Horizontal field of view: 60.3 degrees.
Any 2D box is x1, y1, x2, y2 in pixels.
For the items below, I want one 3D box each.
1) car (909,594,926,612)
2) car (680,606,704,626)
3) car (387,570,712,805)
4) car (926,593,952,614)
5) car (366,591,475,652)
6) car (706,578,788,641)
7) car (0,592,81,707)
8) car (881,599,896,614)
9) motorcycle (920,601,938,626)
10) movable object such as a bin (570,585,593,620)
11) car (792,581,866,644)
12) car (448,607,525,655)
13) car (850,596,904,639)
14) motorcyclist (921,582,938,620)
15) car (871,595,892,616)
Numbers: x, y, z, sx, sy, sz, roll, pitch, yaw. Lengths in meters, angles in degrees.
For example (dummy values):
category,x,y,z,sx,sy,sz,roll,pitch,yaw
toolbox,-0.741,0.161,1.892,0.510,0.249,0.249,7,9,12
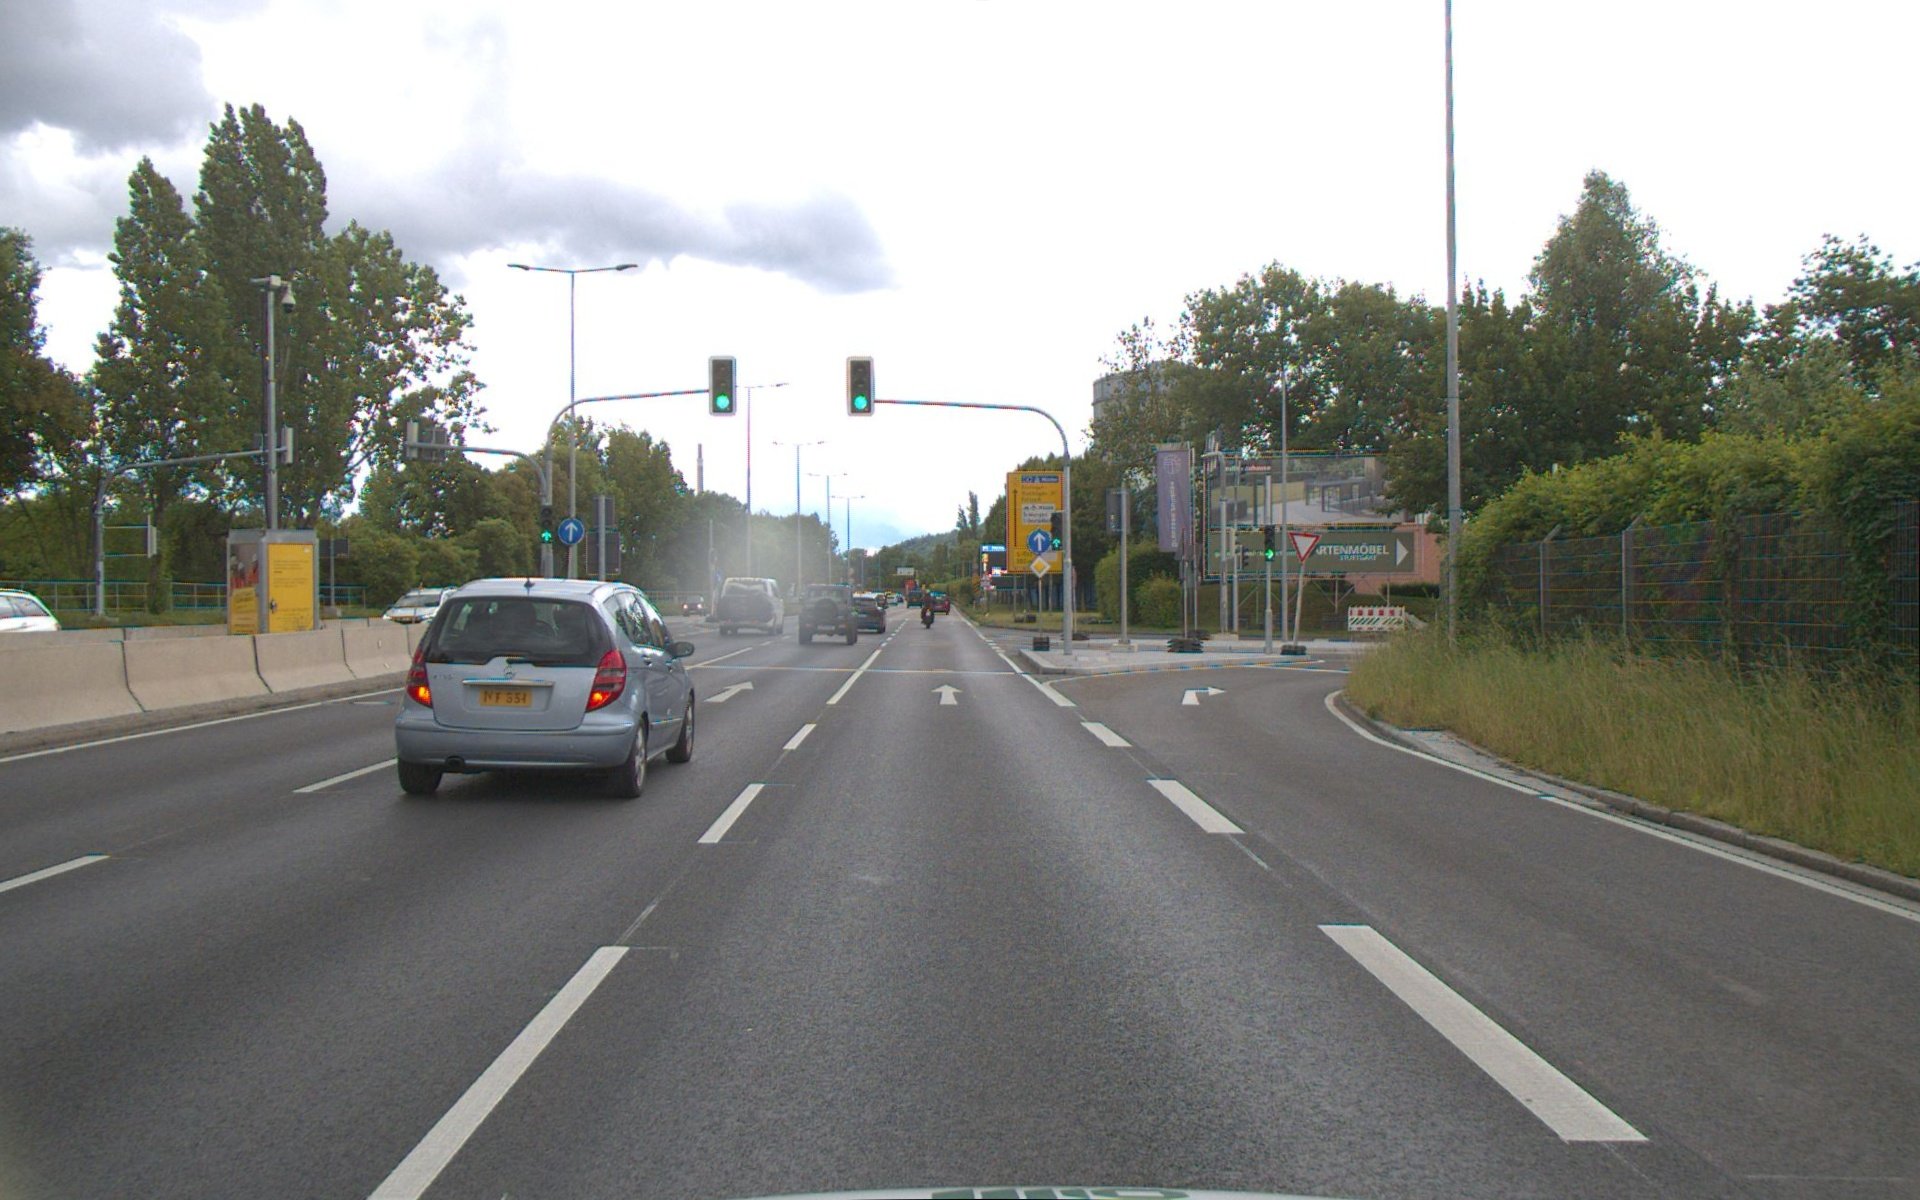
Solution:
category,x,y,z,sx,sy,sz,roll,pitch,yaw
car,-5.010,0.334,194.526,1.953,2.049,3.999,2,0,-1
car,-20.726,1.244,128.080,1.443,1.488,2.736,2,0,-1
car,-3.114,0.585,13.348,1.676,1.556,3.999,2,0,-2
car,-1.663,0.255,129.349,1.953,1.579,3.998,2,0,-2
car,-16.574,0.627,51.055,1.953,1.714,4.411,2,0,-1
car,-7.122,0.297,55.813,2.170,1.959,5.001,2,0,-1
car,-15.515,0.744,25.042,1.953,1.697,4.694,2,0,-1
car,-10.518,0.912,244.225,1.953,2.049,4.000,2,0,-1
motorcycle,-1.375,0.589,73.279,0.692,1.058,2.027,2,0,1
movable object such as a bin,-12.020,0.078,52.495,0.530,1.077,0.740,2,0,-1
car,-3.812,0.328,48.782,1.869,1.713,3.999,2,0,-1
car,-19.267,1.254,67.518,1.953,1.685,4.287,2,2,-2
car,-3.106,0.646,62.426,1.802,1.489,4.000,2,0,0
motorcyclist,-1.361,0.047,73.297,0.670,1.638,0.845,2,0,0
car,-8.228,0.586,173.443,1.953,2.049,3.999,2,0,-1
